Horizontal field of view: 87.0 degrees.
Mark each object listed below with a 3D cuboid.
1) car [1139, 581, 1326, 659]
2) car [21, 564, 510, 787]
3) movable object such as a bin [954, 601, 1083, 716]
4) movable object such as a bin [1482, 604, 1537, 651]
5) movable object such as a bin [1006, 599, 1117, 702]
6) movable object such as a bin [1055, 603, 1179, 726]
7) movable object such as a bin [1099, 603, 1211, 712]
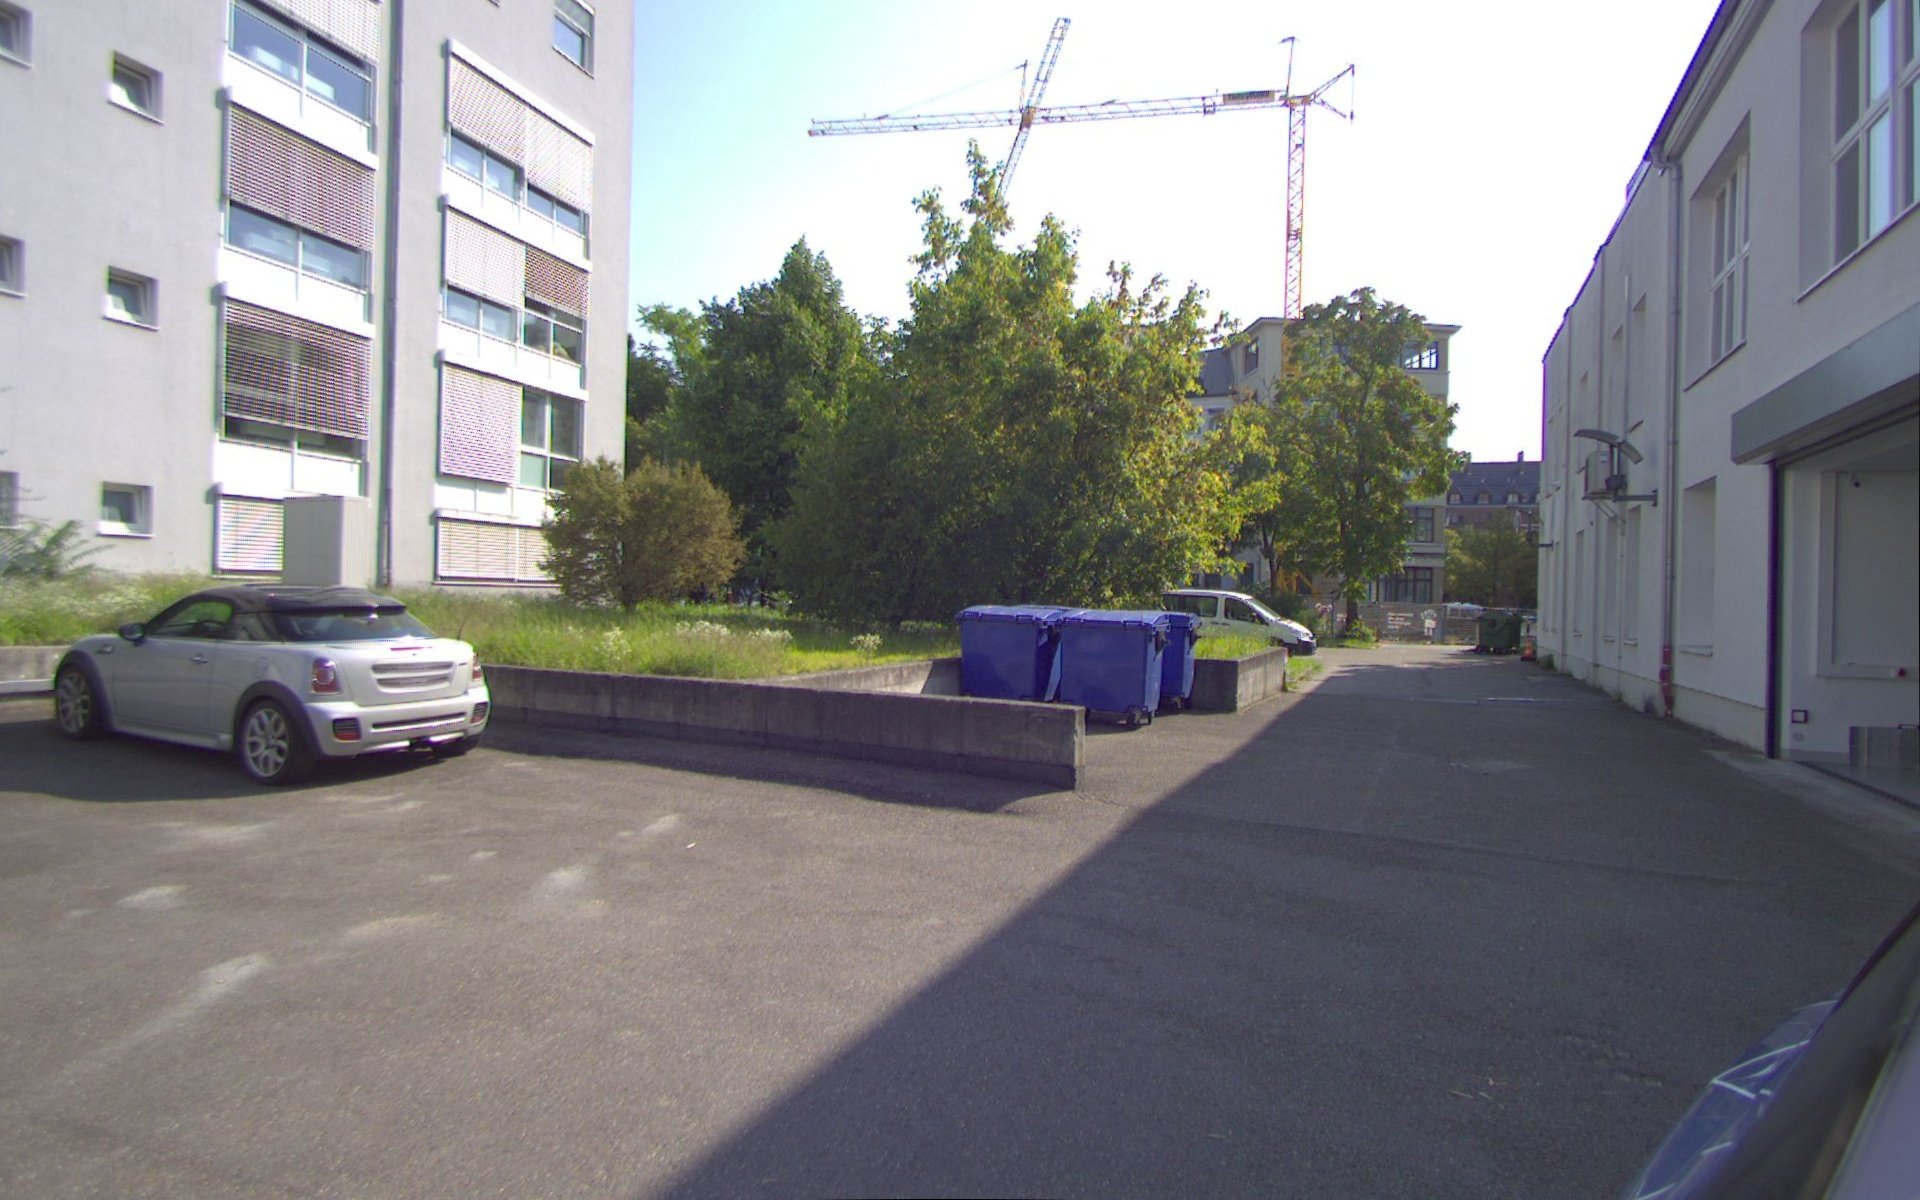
[{"bbox_3d":[7.593,0.513,28.306,4.749,1.956,1.890,2,0,28],"label":"car"},{"bbox_3d":[-5.681,0.492,8.303,3.541,1.456,1.646,2,0,23],"label":"car"},{"bbox_3d":[0.760,0.700,12.896,1.245,1.344,1.263,1,0,26],"label":"movable object such as a bin"},{"bbox_3d":[18.157,0.888,33.507,1.510,1.484,1.263,1,0,26],"label":"movable object such as a bin"},{"bbox_3d":[1.454,0.670,14.270,1.188,1.344,1.263,1,0,26],"label":"movable object such as a bin"},{"bbox_3d":[1.928,0.738,12.279,1.201,1.368,1.265,1,0,24],"label":"movable object such as a bin"},{"bbox_3d":[2.650,0.733,13.633,1.188,1.344,1.263,1,0,26],"label":"movable object such as a bin"}]
